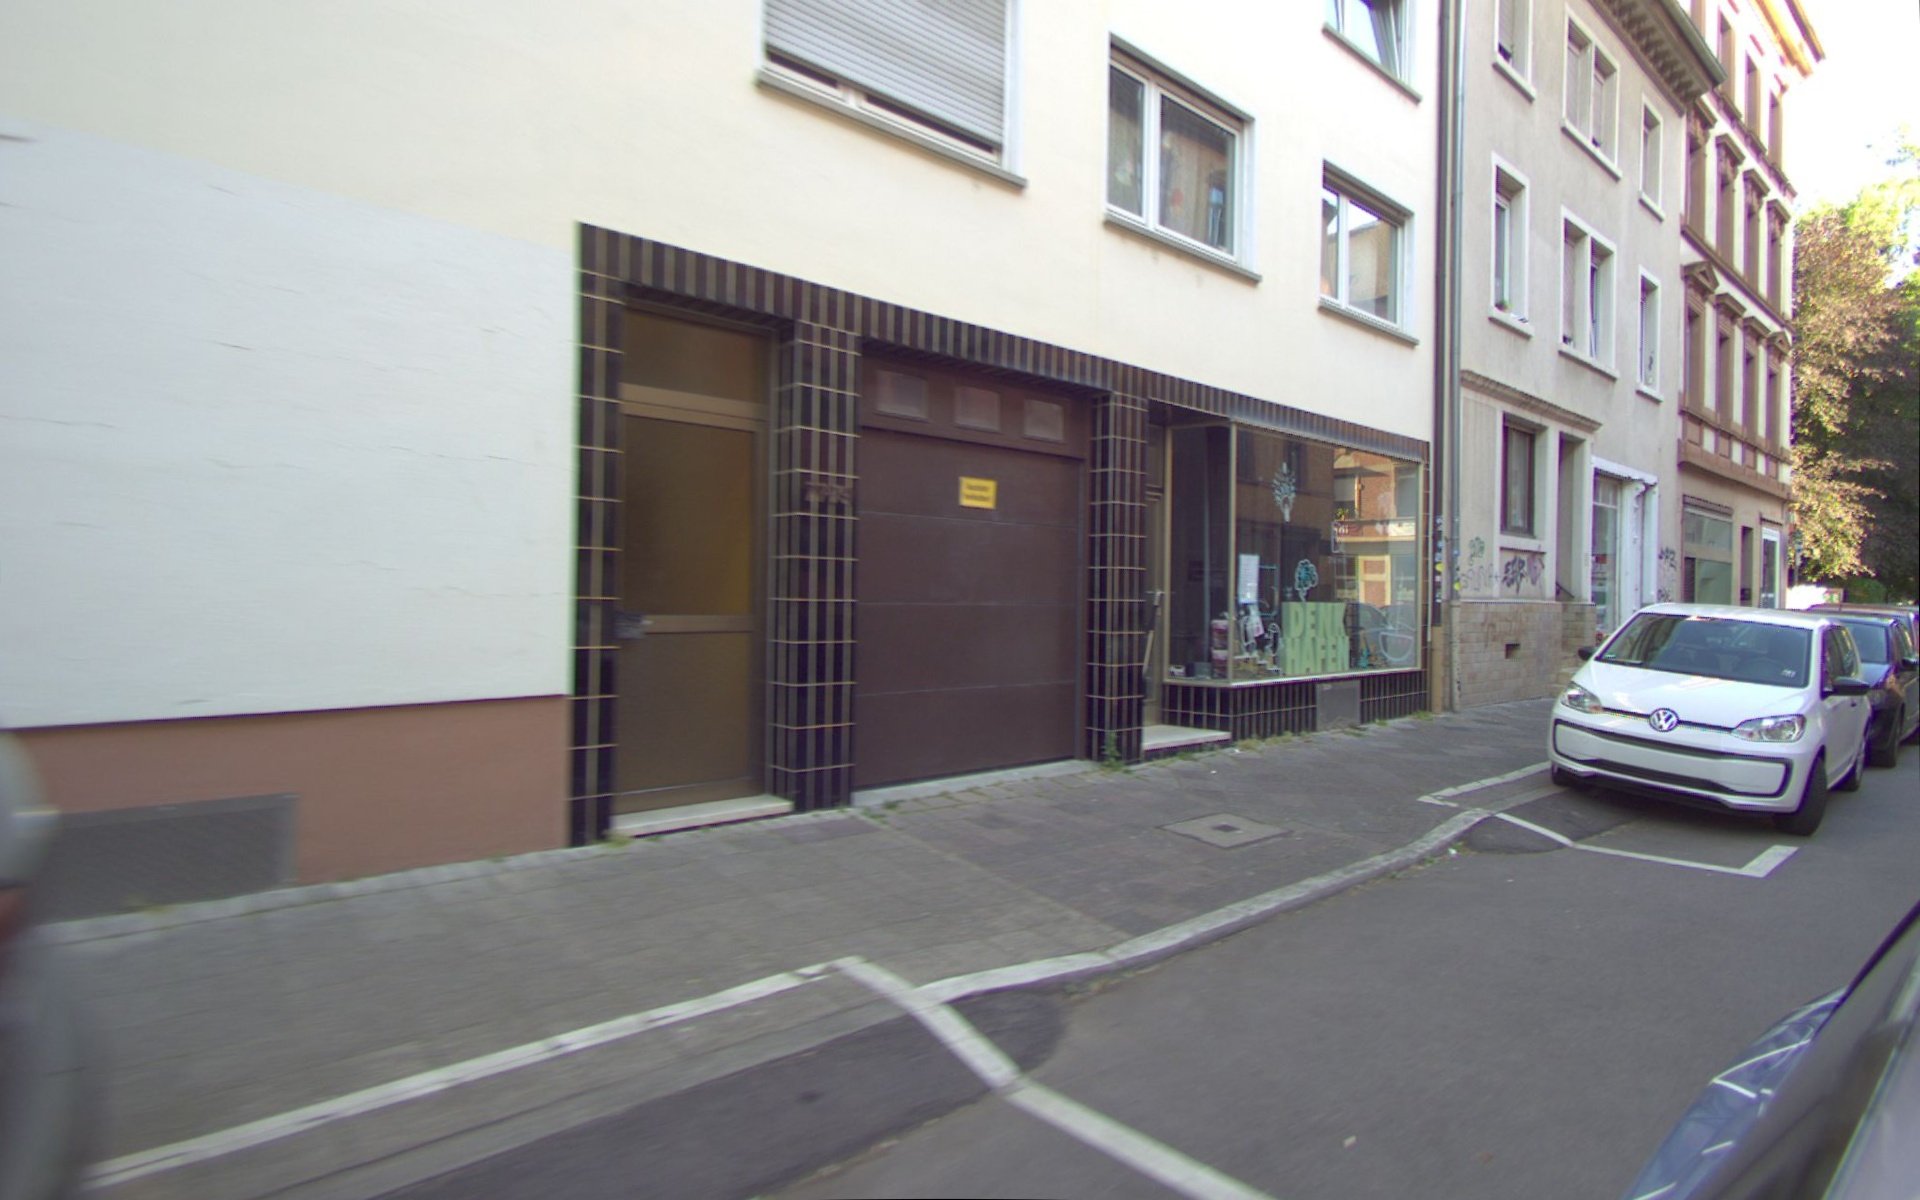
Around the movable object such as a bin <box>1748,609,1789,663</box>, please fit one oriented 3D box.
[{"bbox_3d":[16.607,0.729,20.787,0.583,1.052,0.515,1,2,-40],"label":"movable object such as a bin"}]

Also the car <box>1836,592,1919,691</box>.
[{"bbox_3d":[16.563,0.678,17.452,3.953,1.525,1.746,0,2,-43],"label":"car"}]

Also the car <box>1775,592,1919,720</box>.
[{"bbox_3d":[13.117,0.713,14.469,4.112,1.525,1.601,1,2,-42],"label":"car"}]

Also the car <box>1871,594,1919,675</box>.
[{"bbox_3d":[20.234,0.697,20.823,4.282,1.525,1.747,1,2,-42],"label":"car"}]

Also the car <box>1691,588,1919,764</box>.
[{"bbox_3d":[9.535,0.694,11.071,3.869,1.525,1.679,1,2,-42],"label":"car"}]

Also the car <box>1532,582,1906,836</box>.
[{"bbox_3d":[6.302,0.683,8.247,3.869,1.525,1.679,1,2,-42],"label":"car"}]

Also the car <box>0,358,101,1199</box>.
[{"bbox_3d":[-3.020,0.512,0.303,4.177,1.646,1.679,0,5,-42],"label":"car"}]
